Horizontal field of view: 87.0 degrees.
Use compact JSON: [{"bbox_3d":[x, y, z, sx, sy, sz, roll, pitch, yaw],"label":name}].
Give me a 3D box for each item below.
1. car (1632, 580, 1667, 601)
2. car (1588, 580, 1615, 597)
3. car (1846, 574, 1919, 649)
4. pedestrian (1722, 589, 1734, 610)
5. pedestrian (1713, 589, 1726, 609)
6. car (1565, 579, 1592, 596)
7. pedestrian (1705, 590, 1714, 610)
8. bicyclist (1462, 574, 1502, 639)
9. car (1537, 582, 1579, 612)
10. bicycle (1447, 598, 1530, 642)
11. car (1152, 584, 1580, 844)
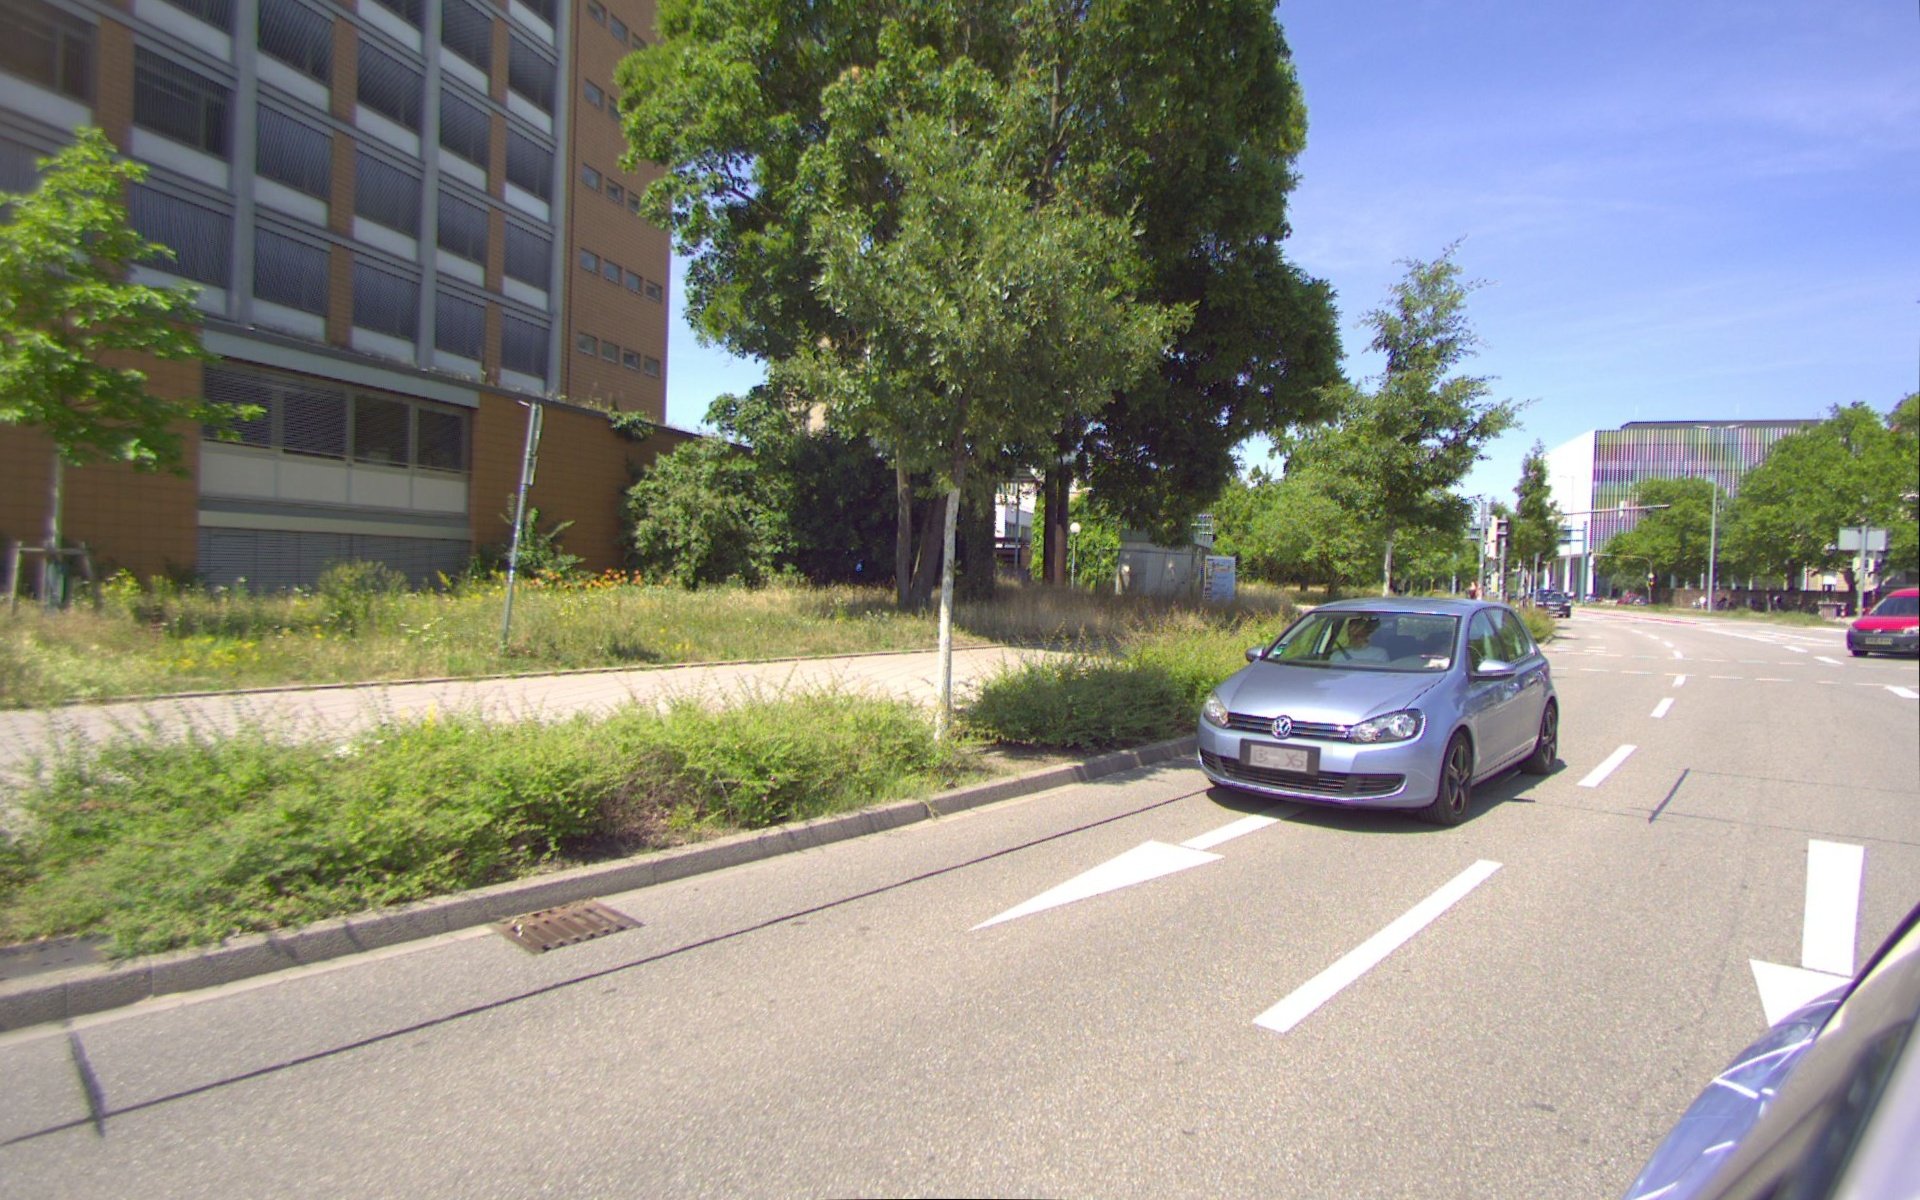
[{"bbox_3d":[71.074,-0.967,104.334,1.976,2.039,4.185,2,0,20],"label":"car"},{"bbox_3d":[71.570,-1.291,112.962,1.761,1.705,3.969,2,0,22],"label":"car"},{"bbox_3d":[24.599,0.363,25.463,4.189,1.788,1.837,3,-1,-24],"label":"car"},{"bbox_3d":[78.150,-0.030,102.986,0.779,2.039,0.834,2,-1,20],"label":"pedestrian"},{"bbox_3d":[77.471,-0.092,103.212,0.779,2.039,0.957,2,-1,20],"label":"pedestrian"},{"bbox_3d":[69.517,-1.375,113.845,1.757,1.689,3.972,2,0,20],"label":"car"},{"bbox_3d":[76.644,0.030,103.521,0.543,2.039,0.532,2,-1,21],"label":"pedestrian"},{"bbox_3d":[14.447,0.176,28.006,0.540,1.737,0.704,3,1,-30],"label":"bicyclist"},{"bbox_3d":[35.616,-0.154,60.363,1.691,1.606,4.516,2,0,25],"label":"car"},{"bbox_3d":[14.504,0.525,27.819,0.547,1.058,2.000,2,2,-29],"label":"bicycle"},{"bbox_3d":[3.320,0.622,7.830,1.827,1.432,3.934,2,2,42],"label":"car"}]
